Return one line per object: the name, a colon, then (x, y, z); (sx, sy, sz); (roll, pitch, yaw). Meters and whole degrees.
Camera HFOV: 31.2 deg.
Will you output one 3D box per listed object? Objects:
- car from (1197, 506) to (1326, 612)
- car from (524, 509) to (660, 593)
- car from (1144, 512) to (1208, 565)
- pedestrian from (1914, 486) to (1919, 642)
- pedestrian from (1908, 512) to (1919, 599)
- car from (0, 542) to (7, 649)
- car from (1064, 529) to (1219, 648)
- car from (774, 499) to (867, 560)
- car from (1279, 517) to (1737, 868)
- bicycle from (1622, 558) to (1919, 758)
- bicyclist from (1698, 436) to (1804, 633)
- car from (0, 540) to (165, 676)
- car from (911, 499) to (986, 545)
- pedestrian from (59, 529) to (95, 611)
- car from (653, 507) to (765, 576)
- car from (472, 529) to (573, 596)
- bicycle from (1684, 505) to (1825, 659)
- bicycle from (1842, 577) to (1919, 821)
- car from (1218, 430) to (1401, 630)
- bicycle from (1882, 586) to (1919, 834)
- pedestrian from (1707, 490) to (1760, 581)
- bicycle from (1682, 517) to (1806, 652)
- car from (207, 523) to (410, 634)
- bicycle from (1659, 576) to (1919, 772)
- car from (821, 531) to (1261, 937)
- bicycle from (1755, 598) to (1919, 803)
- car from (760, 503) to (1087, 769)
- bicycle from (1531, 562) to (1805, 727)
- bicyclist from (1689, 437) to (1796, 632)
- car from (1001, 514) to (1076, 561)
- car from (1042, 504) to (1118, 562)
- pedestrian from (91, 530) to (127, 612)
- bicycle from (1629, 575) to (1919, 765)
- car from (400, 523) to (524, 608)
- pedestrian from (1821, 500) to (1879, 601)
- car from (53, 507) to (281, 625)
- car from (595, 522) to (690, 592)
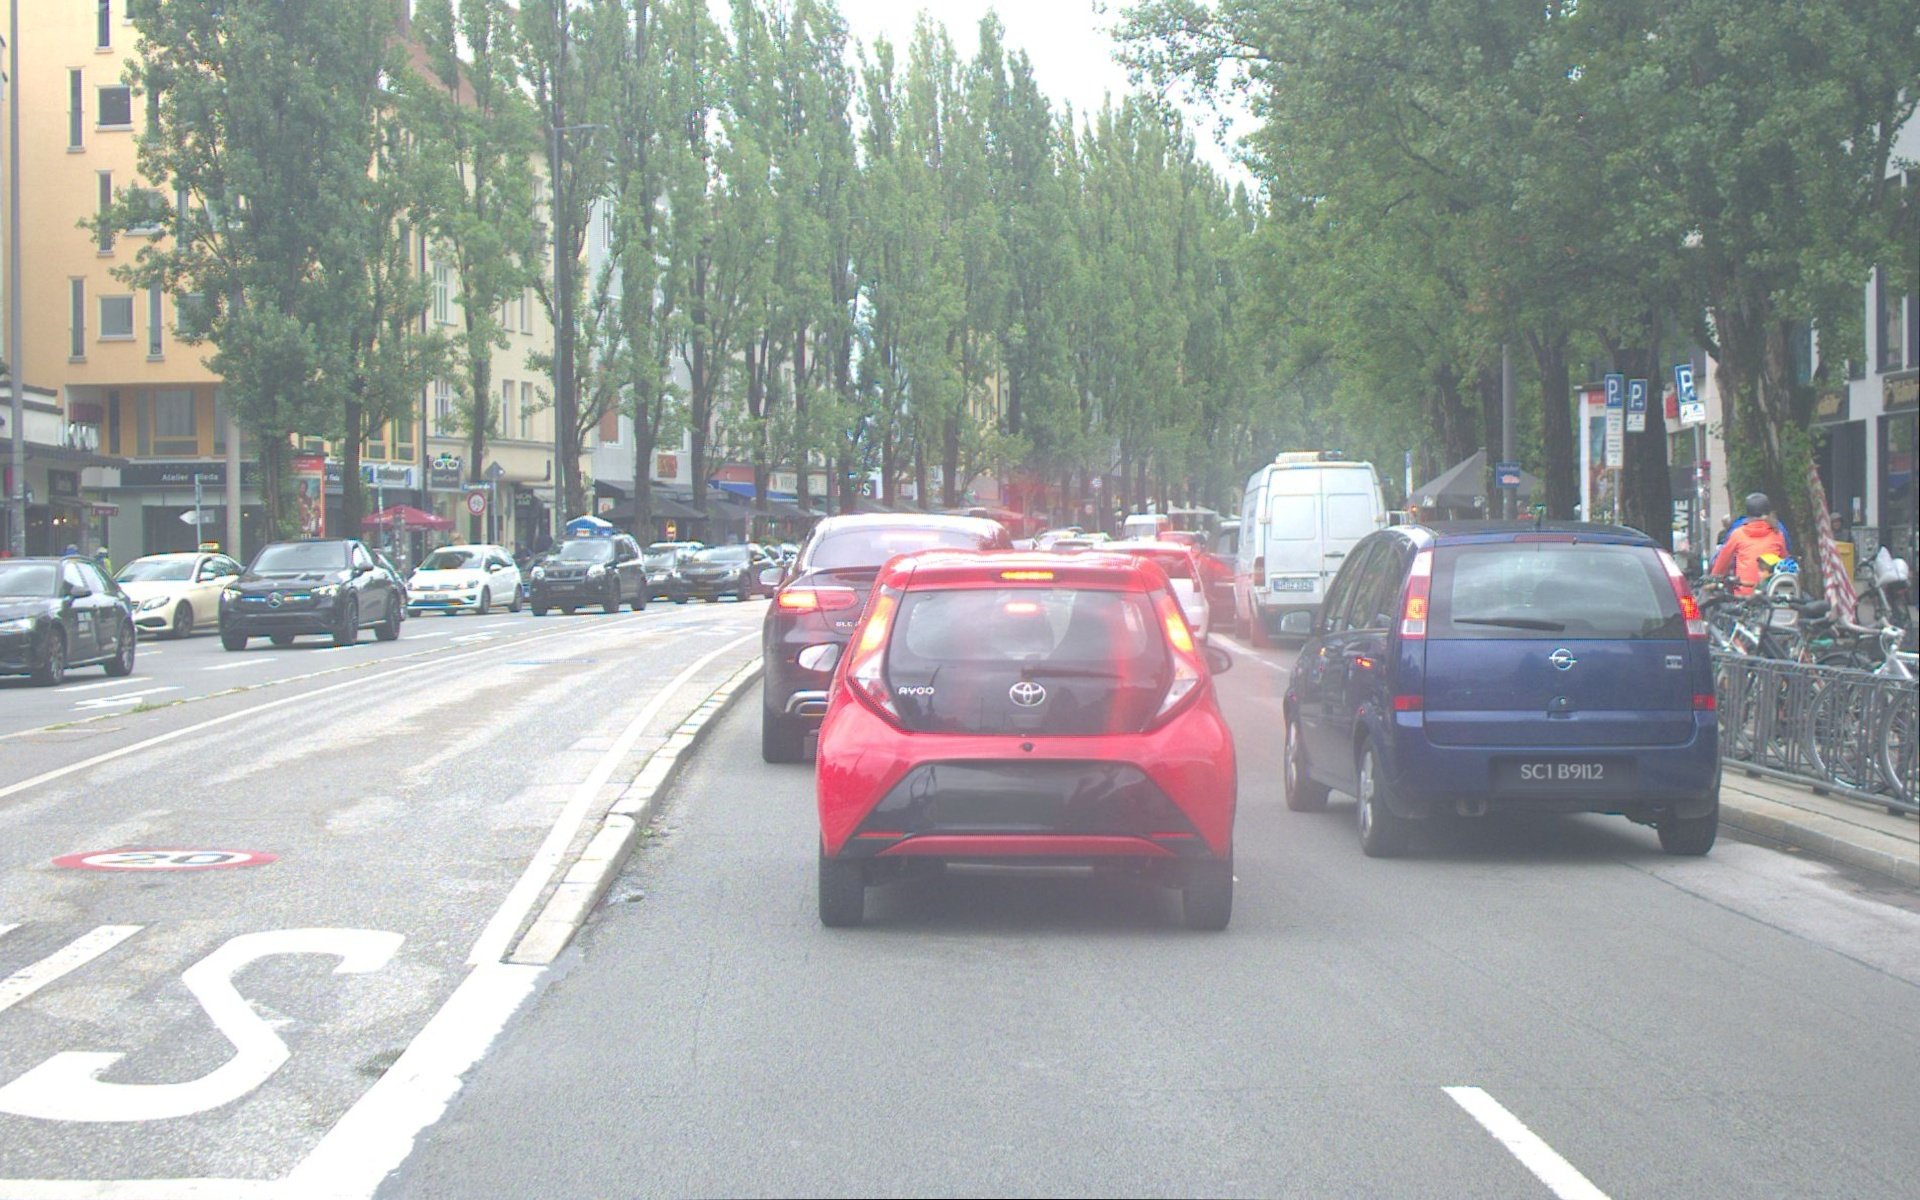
car: (4.823, -0.678, 55.370); (1.703, 1.657, 3.556); (0, 1, -1)
car: (-7.757, -1.060, 72.936); (1.994, 1.686, 4.921); (1, 1, 4)
car: (7.781, -2.212, 123.445); (1.994, 1.831, 3.999); (-1, 1, 8)
pedestrian: (11.018, -0.401, 37.861); (0.790, 1.722, 0.764); (-1, 1, -1)
pedestrian: (14.629, -0.672, 51.540); (0.638, 1.301, 0.676); (-1, 1, -1)
car: (-15.886, -0.070, 50.957); (1.994, 1.649, 4.532); (2, 1, 3)
car: (2.282, -0.183, 43.937); (1.699, 1.421, 3.497); (-1, 2, -2)
car: (-4.038, -2.041, 100.231); (1.994, 1.686, 4.920); (1, 1, 6)
car: (2.659, 0.379, 17.431); (1.703, 1.584, 3.556); (0, 2, -1)
bicycle: (5.268, 0.355, 22.400); (1.836, 1.237, 0.585); (1, 2, 42)
bicyclist: (6.808, -0.570, 29.633); (0.614, 1.652, 1.251); (-1, 1, 0)
car: (-10.466, 0.054, 38.400); (1.845, 1.377, 4.600); (0, 2, 3)
car: (-0.430, -3.012, 132.397); (1.994, 1.686, 4.412); (0, 1, 12)
pedestrian: (-21.563, -0.740, 83.974); (0.687, 1.990, 0.765); (0, 1, -2)
car: (-6.384, -1.521, 88.014); (1.994, 1.686, 4.920); (0, 2, 6)
car: (-10.557, -0.911, 83.084); (1.746, 1.565, 3.492); (0, 1, 4)
bicycle: (6.816, -0.184, 29.600); (0.614, 1.260, 2.520); (-1, 2, 0)
bicycle: (5.301, 0.495, 16.833); (1.836, 1.193, 0.585); (1, 2, 42)
car: (4.946, -1.013, 49.275); (2.107, 2.709, 4.804); (-1, 1, 0)
bicycle: (5.288, 0.529, 16.052); (1.836, 1.164, 0.585); (1, 2, 42)
pedestrian: (13.604, -1.139, 60.452); (0.764, 1.588, 0.676); (-1, 1, -1)
bicycle: (7.646, -0.176, 33.612); (0.614, 1.260, 2.520); (-1, 2, 0)
car: (-9.570, -0.348, 50.888); (1.993, 1.529, 4.587); (-1, 2, 2)
bicycle: (5.222, 0.431, 20.972); (1.836, 1.132, 0.585); (1, 2, 42)
car: (0.295, 0.468, 14.315); (1.605, 1.456, 3.130); (1, 2, 0)
bicycle: (5.188, 0.533, 18.241); (1.836, 1.048, 0.585); (1, 2, 42)
car: (-0.273, 0.168, 23.149); (1.993, 1.612, 4.001); (-1, 2, -1)
bicycle: (5.067, 0.299, 24.658); (1.836, 1.132, 0.585); (1, 2, 35)
bicyclist: (7.637, -0.640, 33.590); (0.762, 1.863, 1.133); (-1, 1, 0)
car: (2.949, -2.329, 127.964); (1.994, 1.686, 4.412); (0, 1, 12)
car: (3.092, -1.731, 87.715); (1.773, 1.434, 3.938); (0, 2, 4)
pedestrian: (-20.796, -0.719, 84.022); (0.687, 1.990, 0.765); (0, 1, -2)
bicycle: (5.189, 0.420, 21.734); (1.836, 1.132, 0.585); (1, 2, 42)
car: (-11.120, -0.795, 77.021); (1.856, 1.809, 4.000); (2, 1, 5)
pedestrian: (13.818, -0.776, 53.370); (0.713, 1.553, 0.676); (-1, 1, -1)
car: (-13.656, -0.621, 59.492); (1.995, 1.809, 4.531); (-2, 2, 13)
car: (-8.619, -1.179, 93.657); (1.856, 1.809, 4.000); (2, 1, 5)
